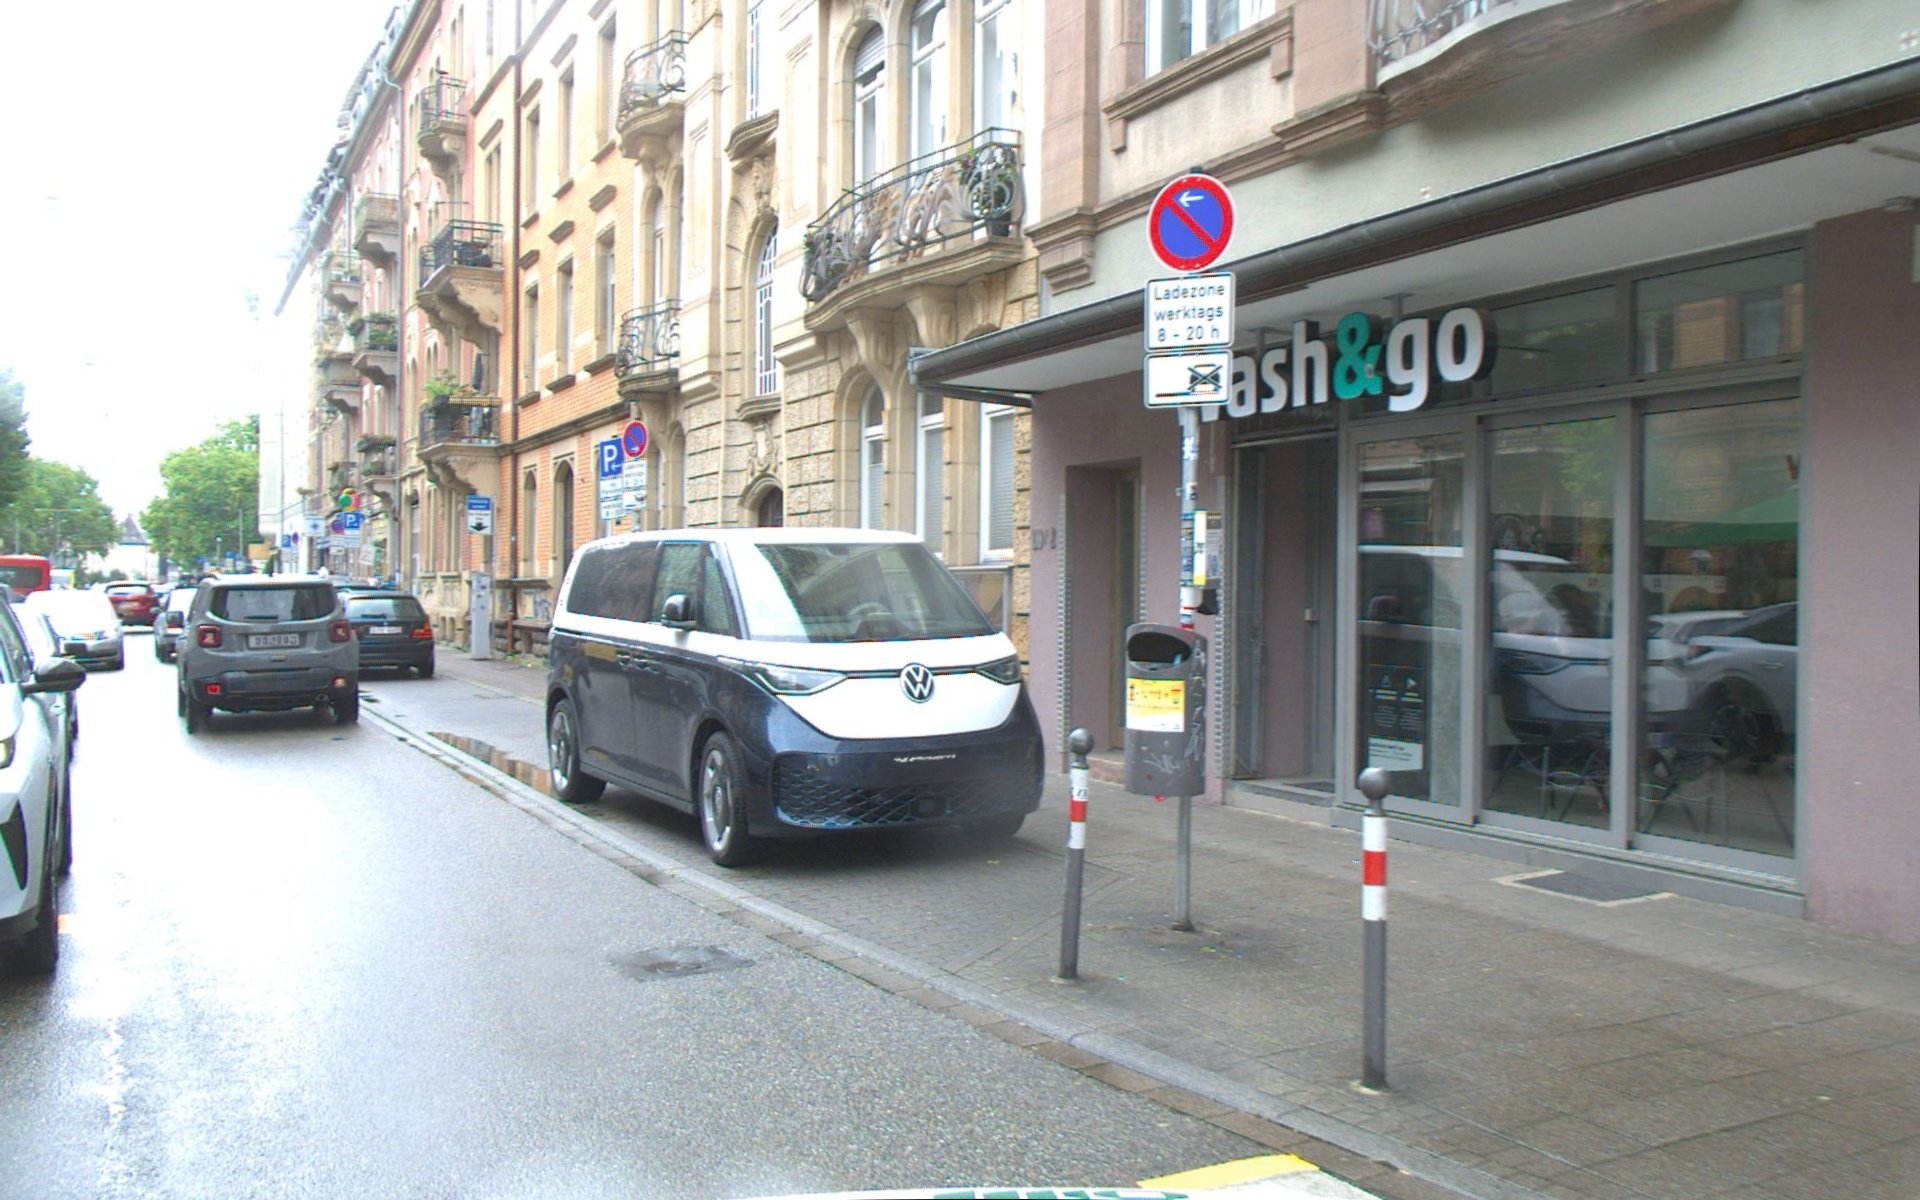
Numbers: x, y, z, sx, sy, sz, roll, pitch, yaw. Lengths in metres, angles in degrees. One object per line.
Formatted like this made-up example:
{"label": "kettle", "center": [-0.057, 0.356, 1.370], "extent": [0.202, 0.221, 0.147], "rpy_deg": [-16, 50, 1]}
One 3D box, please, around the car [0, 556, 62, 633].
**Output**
{"label": "car", "center": [-33.473, -0.204, 55.457], "extent": [2.184, 2.585, 5.553], "rpy_deg": [1, 0, 35]}

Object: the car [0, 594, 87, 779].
{"label": "car", "center": [-9.212, 0.826, 15.422], "extent": [1.774, 1.520, 4.101], "rpy_deg": [-2, -1, -27]}

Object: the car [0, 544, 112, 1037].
{"label": "car", "center": [-5.091, 0.671, 7.567], "extent": [1.834, 1.689, 4.970], "rpy_deg": [-2, 1, -24]}

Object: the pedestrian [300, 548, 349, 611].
{"label": "pedestrian", "center": [-20.570, -0.671, 53.542], "extent": [0.664, 1.954, 0.816], "rpy_deg": [-1, -41, 8]}

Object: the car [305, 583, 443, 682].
{"label": "car", "center": [-10.099, 0.483, 28.305], "extent": [1.765, 1.492, 4.447], "rpy_deg": [0, 1, -26]}

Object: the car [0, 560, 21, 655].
{"label": "car", "center": [-23.416, 0.151, 35.649], "extent": [1.834, 2.115, 5.229], "rpy_deg": [0, -1, 38]}

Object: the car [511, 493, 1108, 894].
{"label": "car", "center": [-1.308, 0.429, 10.908], "extent": [1.972, 1.972, 5.179], "rpy_deg": [-2, 1, -29]}

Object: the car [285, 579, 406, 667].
{"label": "car", "center": [-12.317, 0.401, 32.992], "extent": [1.849, 1.589, 4.309], "rpy_deg": [-1, 1, -26]}

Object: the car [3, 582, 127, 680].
{"label": "car", "center": [-17.128, 0.554, 31.826], "extent": [1.773, 1.519, 4.545], "rpy_deg": [5, 0, -26]}

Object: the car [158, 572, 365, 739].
{"label": "car", "center": [-8.286, 0.552, 19.398], "extent": [1.877, 1.700, 4.465], "rpy_deg": [-1, 1, -28]}

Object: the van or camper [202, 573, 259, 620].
{"label": "van or camper", "center": [-32.080, -0.182, 72.621], "extent": [1.998, 1.924, 5.010], "rpy_deg": [-2, 1, -27]}
